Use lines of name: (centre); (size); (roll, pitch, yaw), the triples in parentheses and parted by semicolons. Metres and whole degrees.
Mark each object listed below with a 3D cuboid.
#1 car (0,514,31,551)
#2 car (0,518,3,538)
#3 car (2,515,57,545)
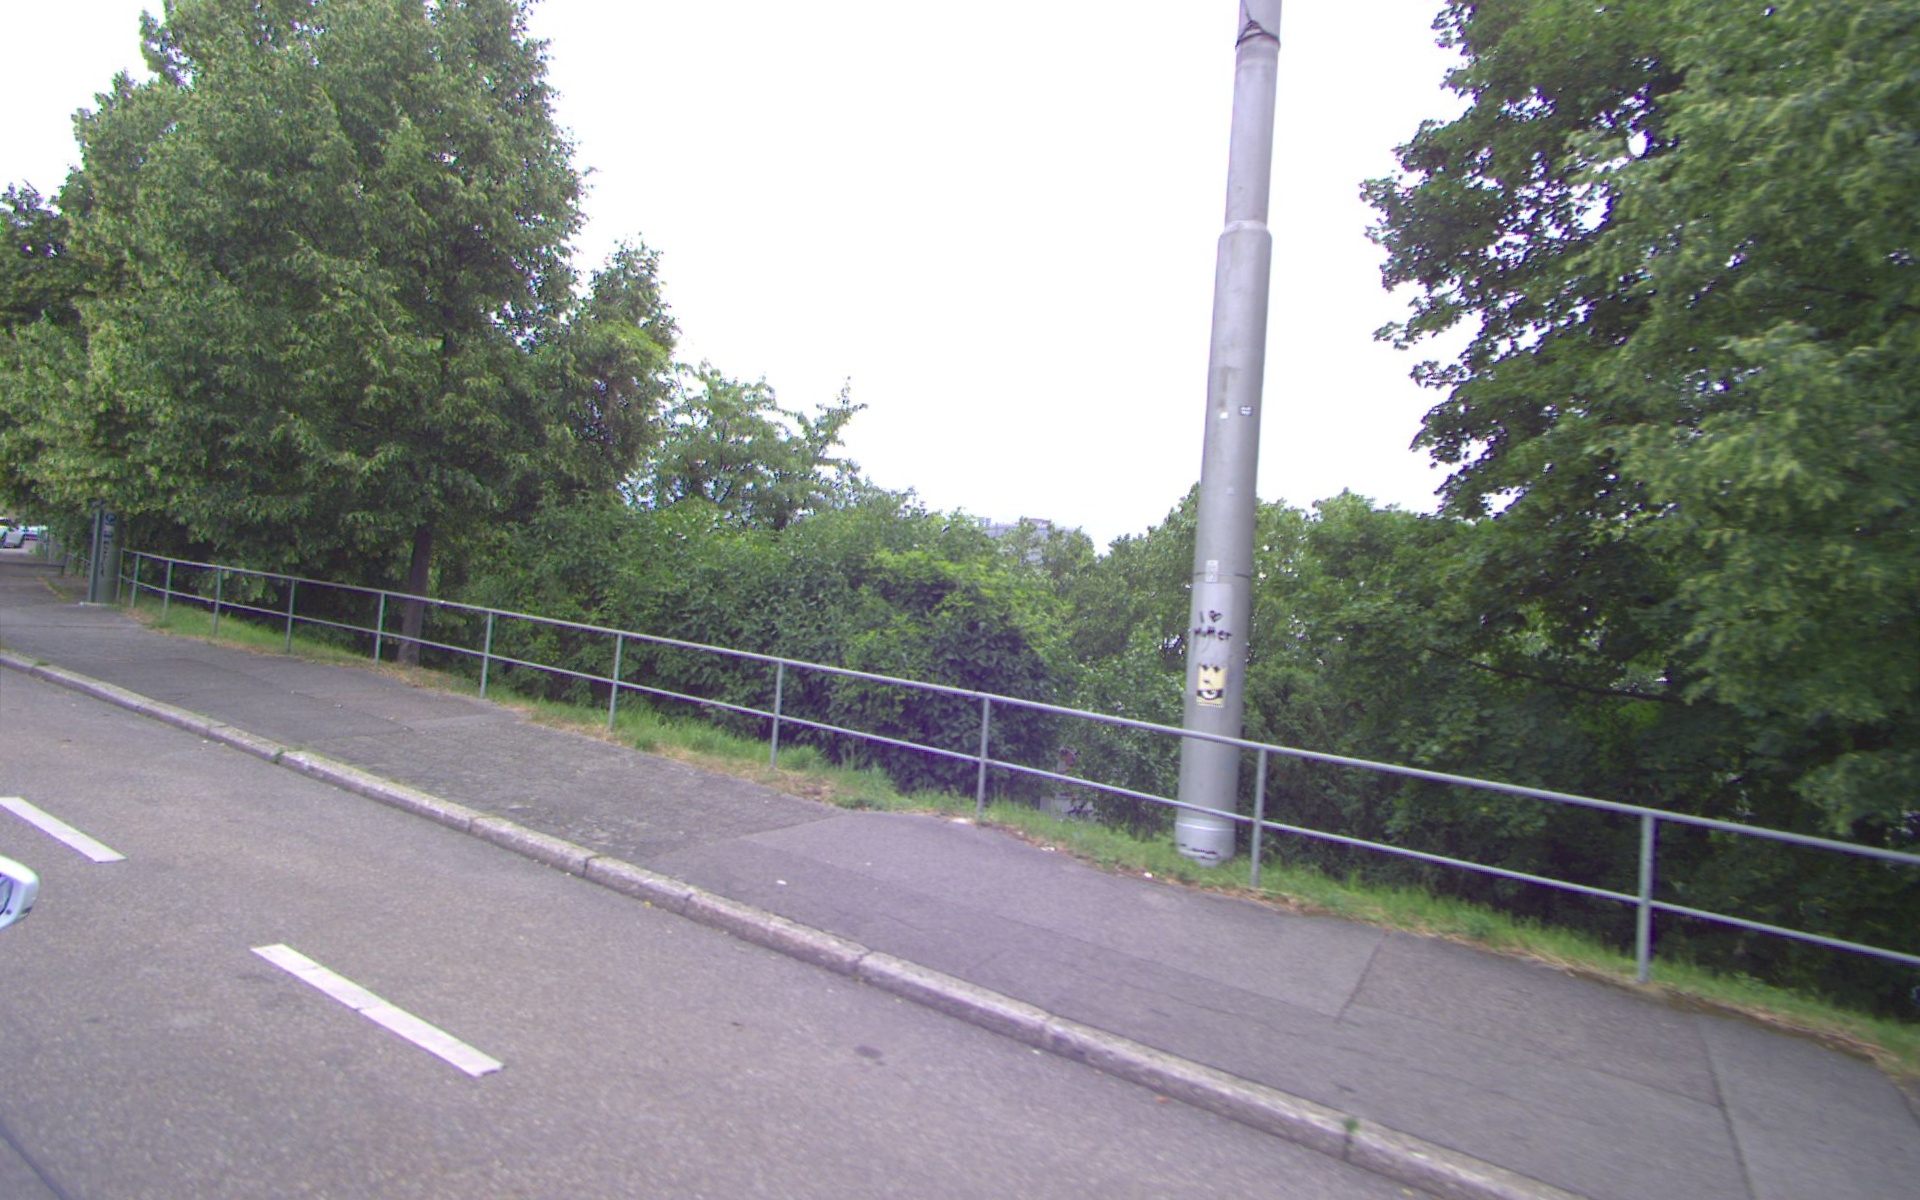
car: (-42.880, -3.100, 44.191); (1.979, 1.496, 4.432); (8, -3, -30)
car: (-12.482, -0.444, 10.826); (4.766, 1.445, 1.833); (6, -4, 31)
car: (-64.181, -4.767, 69.451); (1.981, 1.636, 3.966); (8, -3, -33)
